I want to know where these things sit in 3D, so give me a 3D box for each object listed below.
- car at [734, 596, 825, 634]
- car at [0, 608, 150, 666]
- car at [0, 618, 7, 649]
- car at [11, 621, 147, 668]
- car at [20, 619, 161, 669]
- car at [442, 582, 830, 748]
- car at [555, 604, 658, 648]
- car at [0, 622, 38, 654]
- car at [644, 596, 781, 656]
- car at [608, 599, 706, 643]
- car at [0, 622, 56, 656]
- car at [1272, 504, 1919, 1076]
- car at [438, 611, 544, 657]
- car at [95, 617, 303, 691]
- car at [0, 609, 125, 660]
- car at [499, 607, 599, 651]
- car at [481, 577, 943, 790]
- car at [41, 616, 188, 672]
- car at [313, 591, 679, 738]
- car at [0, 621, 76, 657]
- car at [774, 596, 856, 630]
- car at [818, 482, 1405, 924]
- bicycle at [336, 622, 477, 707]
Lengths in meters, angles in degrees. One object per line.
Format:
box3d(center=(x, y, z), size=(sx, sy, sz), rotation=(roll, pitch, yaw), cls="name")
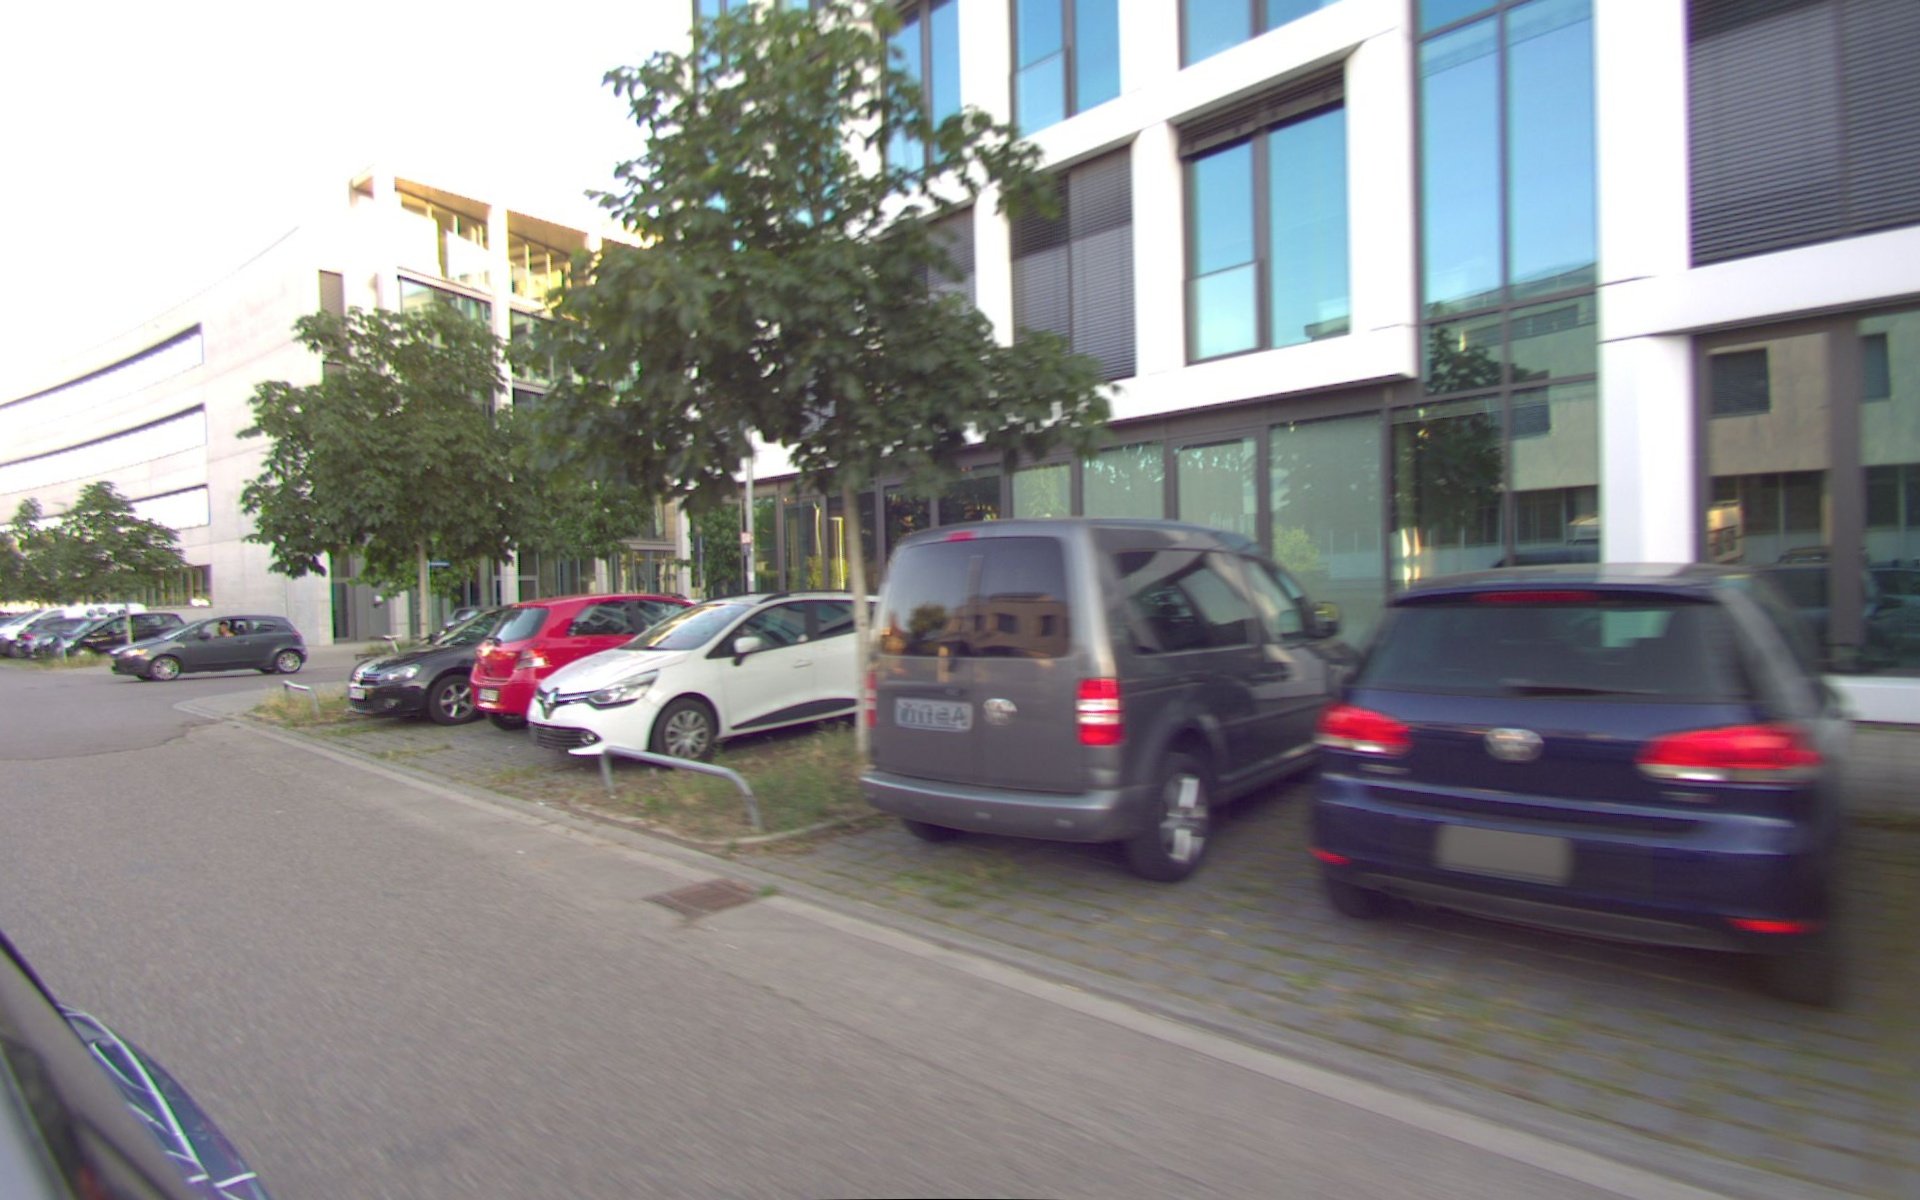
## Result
box3d(center=(-8.201, 0.647, 45.819), size=(4.128, 1.585, 1.630), rotation=(0, 2, 36), cls="car")
box3d(center=(-35.325, 1.410, 39.826), size=(1.885, 1.894, 5.025), rotation=(-2, 2, 36), cls="car")
box3d(center=(-50.123, 1.812, 50.029), size=(1.793, 1.595, 3.988), rotation=(-2, 2, 30), cls="car")
box3d(center=(-33.145, 1.632, 38.137), size=(1.724, 1.435, 3.609), rotation=(-1, 2, 40), cls="car")
box3d(center=(-31.226, 1.549, 36.411), size=(1.725, 1.435, 3.608), rotation=(-1, 2, 41), cls="car")
box3d(center=(-3.761, 0.646, 12.279), size=(1.844, 1.530, 4.065), rotation=(-2, 1, 42), cls="car")
box3d(center=(-13.447, 0.943, 38.458), size=(4.128, 1.503, 1.630), rotation=(0, 2, 36), cls="car")
box3d(center=(-45.447, 1.841, 46.838), size=(1.796, 1.370, 3.768), rotation=(-2, 2, 36), cls="car")
box3d(center=(-6.908, 0.734, 28.149), size=(3.718, 1.507, 1.709), rotation=(-2, 1, 37), cls="car")
box3d(center=(-12.239, 0.809, 40.795), size=(4.128, 1.640, 1.630), rotation=(0, 2, 36), cls="car")
box3d(center=(-43.315, 1.820, 45.421), size=(1.796, 1.370, 3.768), rotation=(-2, 2, 36), cls="car")
box3d(center=(3.126, 0.439, 4.786), size=(1.772, 1.510, 4.069), rotation=(-2, 1, 38), cls="car")
box3d(center=(-16.046, 1.125, 34.579), size=(3.811, 1.396, 1.630), rotation=(0, 2, 36), cls="car")
box3d(center=(-18.288, 1.245, 24.448), size=(1.647, 1.506, 3.689), rotation=(-2, 1, 38), cls="car")
box3d(center=(-39.050, 1.452, 43.116), size=(1.885, 1.840, 5.025), rotation=(-2, 2, 36), cls="car")
box3d(center=(-15.051, 1.037, 36.977), size=(3.896, 1.439, 1.543), rotation=(0, 2, 36), cls="car")
box3d(center=(-2.215, 0.631, 9.921), size=(1.780, 1.530, 4.065), rotation=(-2, 1, 42), cls="car")
box3d(center=(-29.056, 1.468, 34.841), size=(1.725, 1.559, 3.608), rotation=(-1, 2, 41), cls="car")
box3d(center=(-6.092, 0.742, 13.661), size=(1.844, 1.530, 4.066), rotation=(-2, 1, 41), cls="car")
box3d(center=(-41.078, 1.733, 43.902), size=(1.796, 1.370, 3.768), rotation=(-2, 2, 36), cls="car")
box3d(center=(-6.960, 0.609, 48.536), size=(3.850, 1.517, 1.630), rotation=(0, 2, 36), cls="car")
box3d(center=(1.254, 0.362, 6.349), size=(1.814, 1.830, 4.069), rotation=(-2, 1, 38), cls="car")
box3d(center=(-8.047, 0.912, 14.771), size=(0.566, 1.073, 1.677), rotation=(-2, 1, 43), cls="bicycle")
